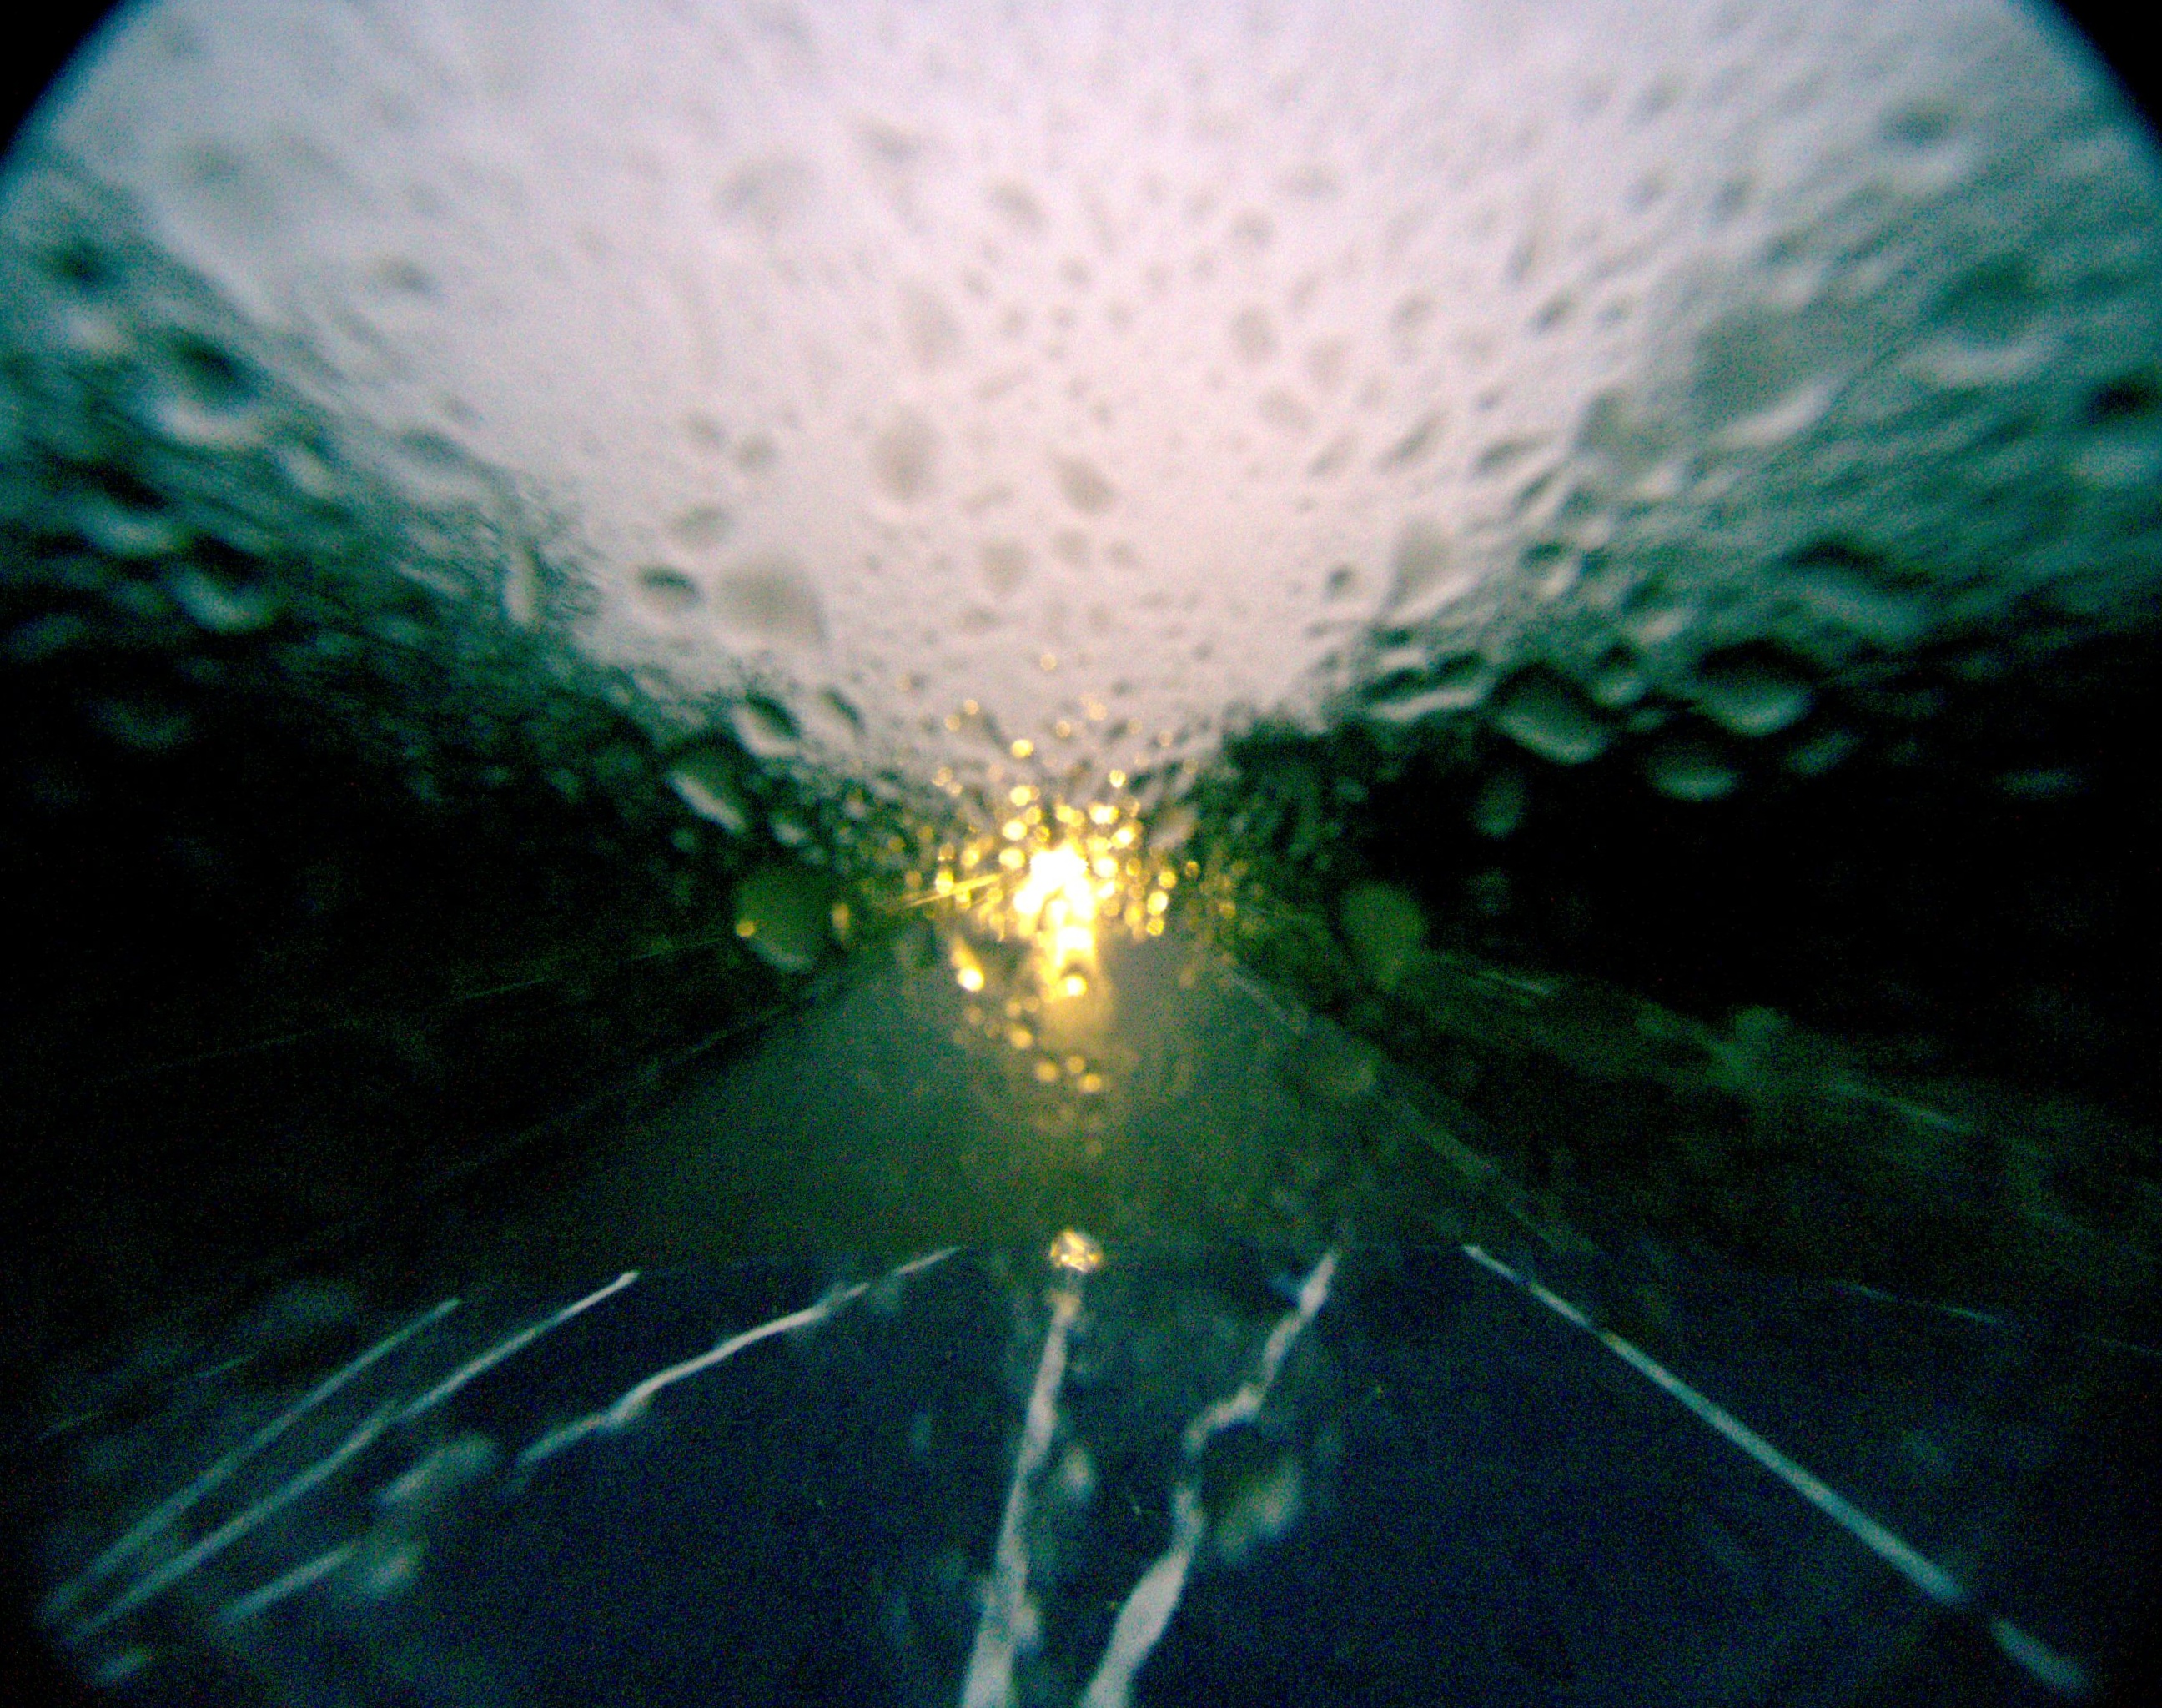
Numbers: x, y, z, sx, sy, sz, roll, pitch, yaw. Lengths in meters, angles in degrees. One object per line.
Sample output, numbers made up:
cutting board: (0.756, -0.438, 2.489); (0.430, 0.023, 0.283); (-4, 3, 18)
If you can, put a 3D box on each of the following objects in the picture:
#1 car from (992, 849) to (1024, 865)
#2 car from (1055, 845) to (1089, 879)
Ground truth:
car: (-9.420, 0.381, 98.362); (2.004, 2.002, 4.218); (-2, 1, -41)
car: (-0.526, 0.536, 47.710); (1.998, 2.001, 3.964); (0, -2, 0)
